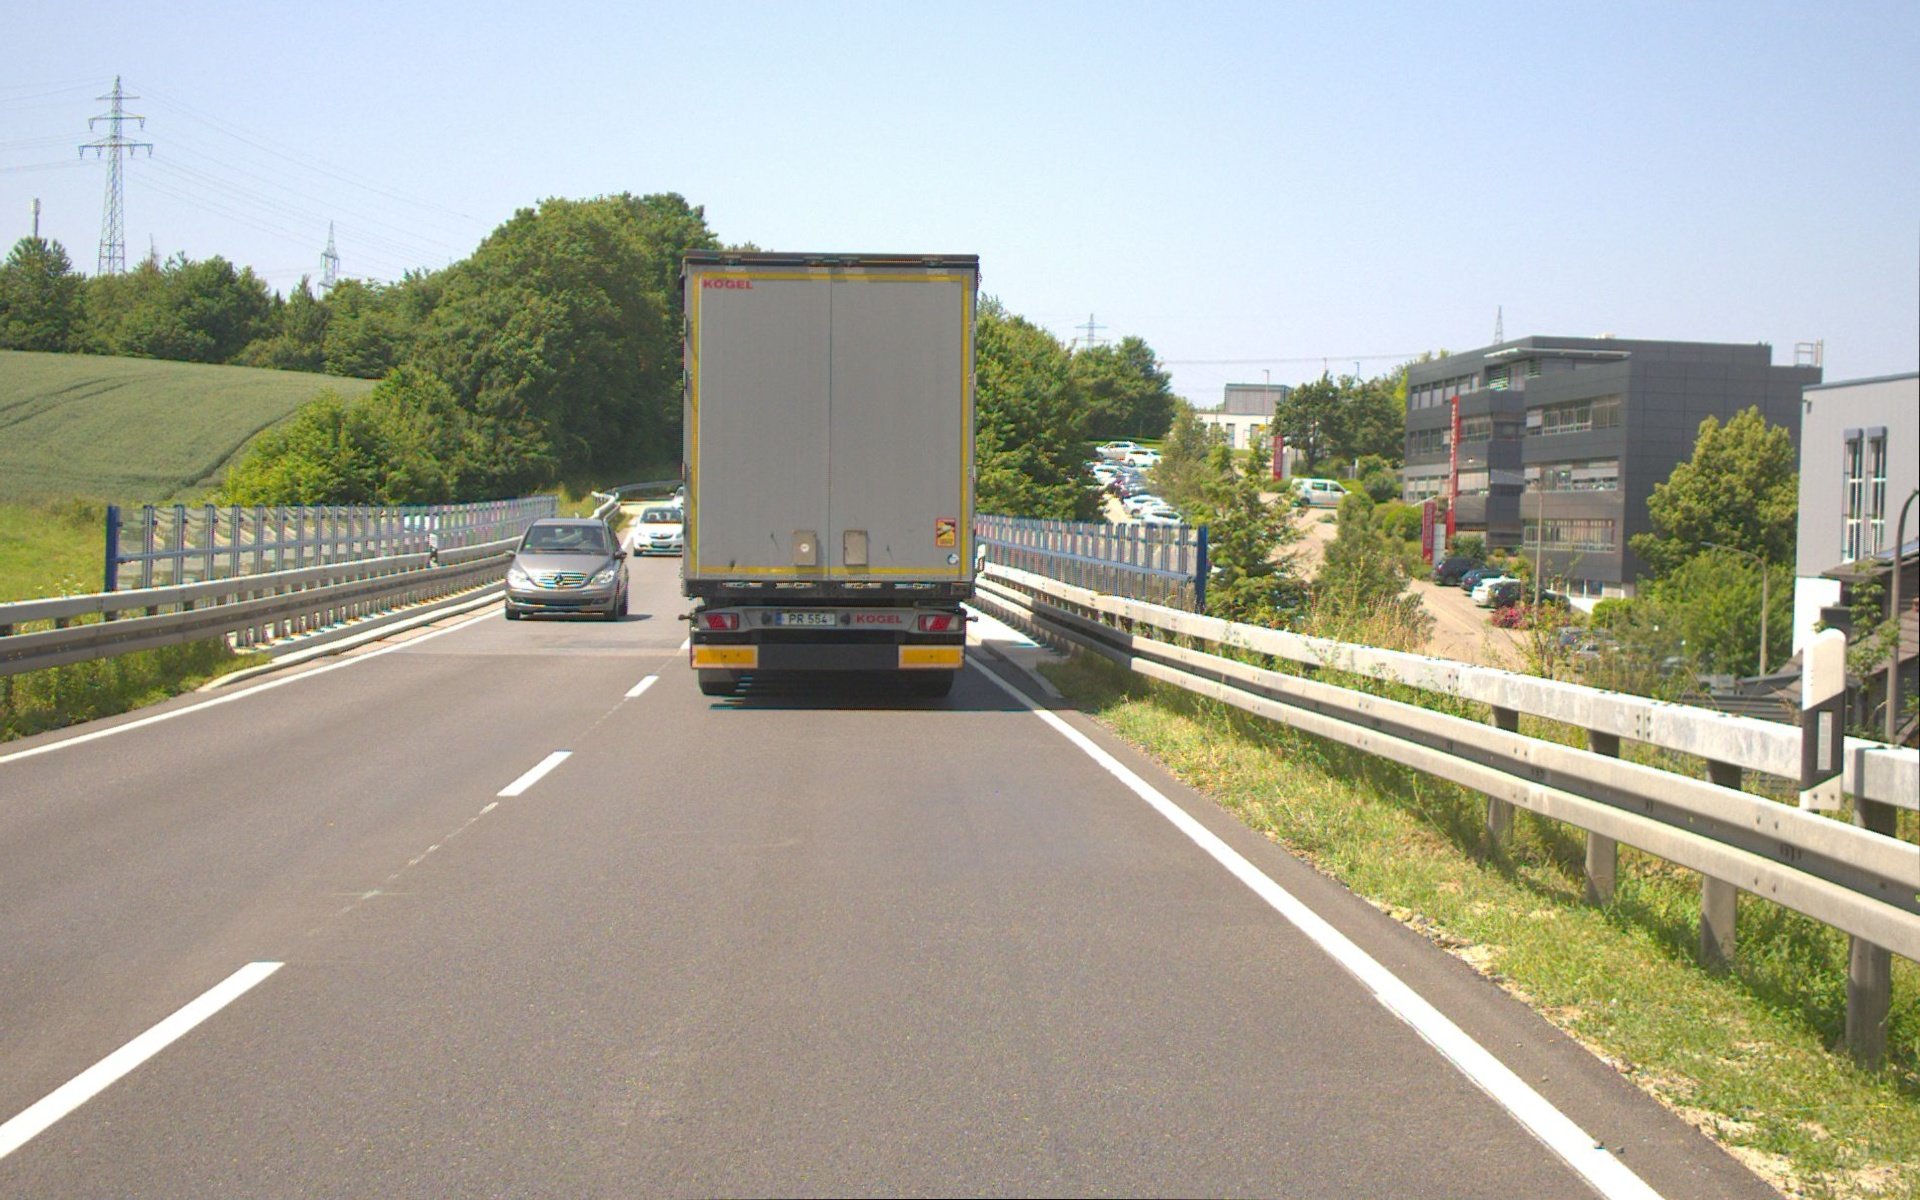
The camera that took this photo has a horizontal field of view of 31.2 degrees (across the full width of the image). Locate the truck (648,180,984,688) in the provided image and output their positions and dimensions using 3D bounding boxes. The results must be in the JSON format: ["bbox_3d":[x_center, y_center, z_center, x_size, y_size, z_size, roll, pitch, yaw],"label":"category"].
[{"bbox_3d":[-1.440,-1.472,34.331,2.866,4.344,9.790,0,1,-2],"label":"truck"}]

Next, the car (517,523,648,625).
[{"bbox_3d":[-6.044,-0.438,55.436,1.806,1.584,4.380,0,1,-2],"label":"car"}]

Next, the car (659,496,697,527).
[{"bbox_3d":[-13.540,-4.254,165.096,1.781,1.431,4.836,0,2,-4],"label":"car"}]

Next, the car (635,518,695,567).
[{"bbox_3d":[-9.099,-1.781,106.209,1.707,1.500,4.119,0,1,-3],"label":"car"}]
